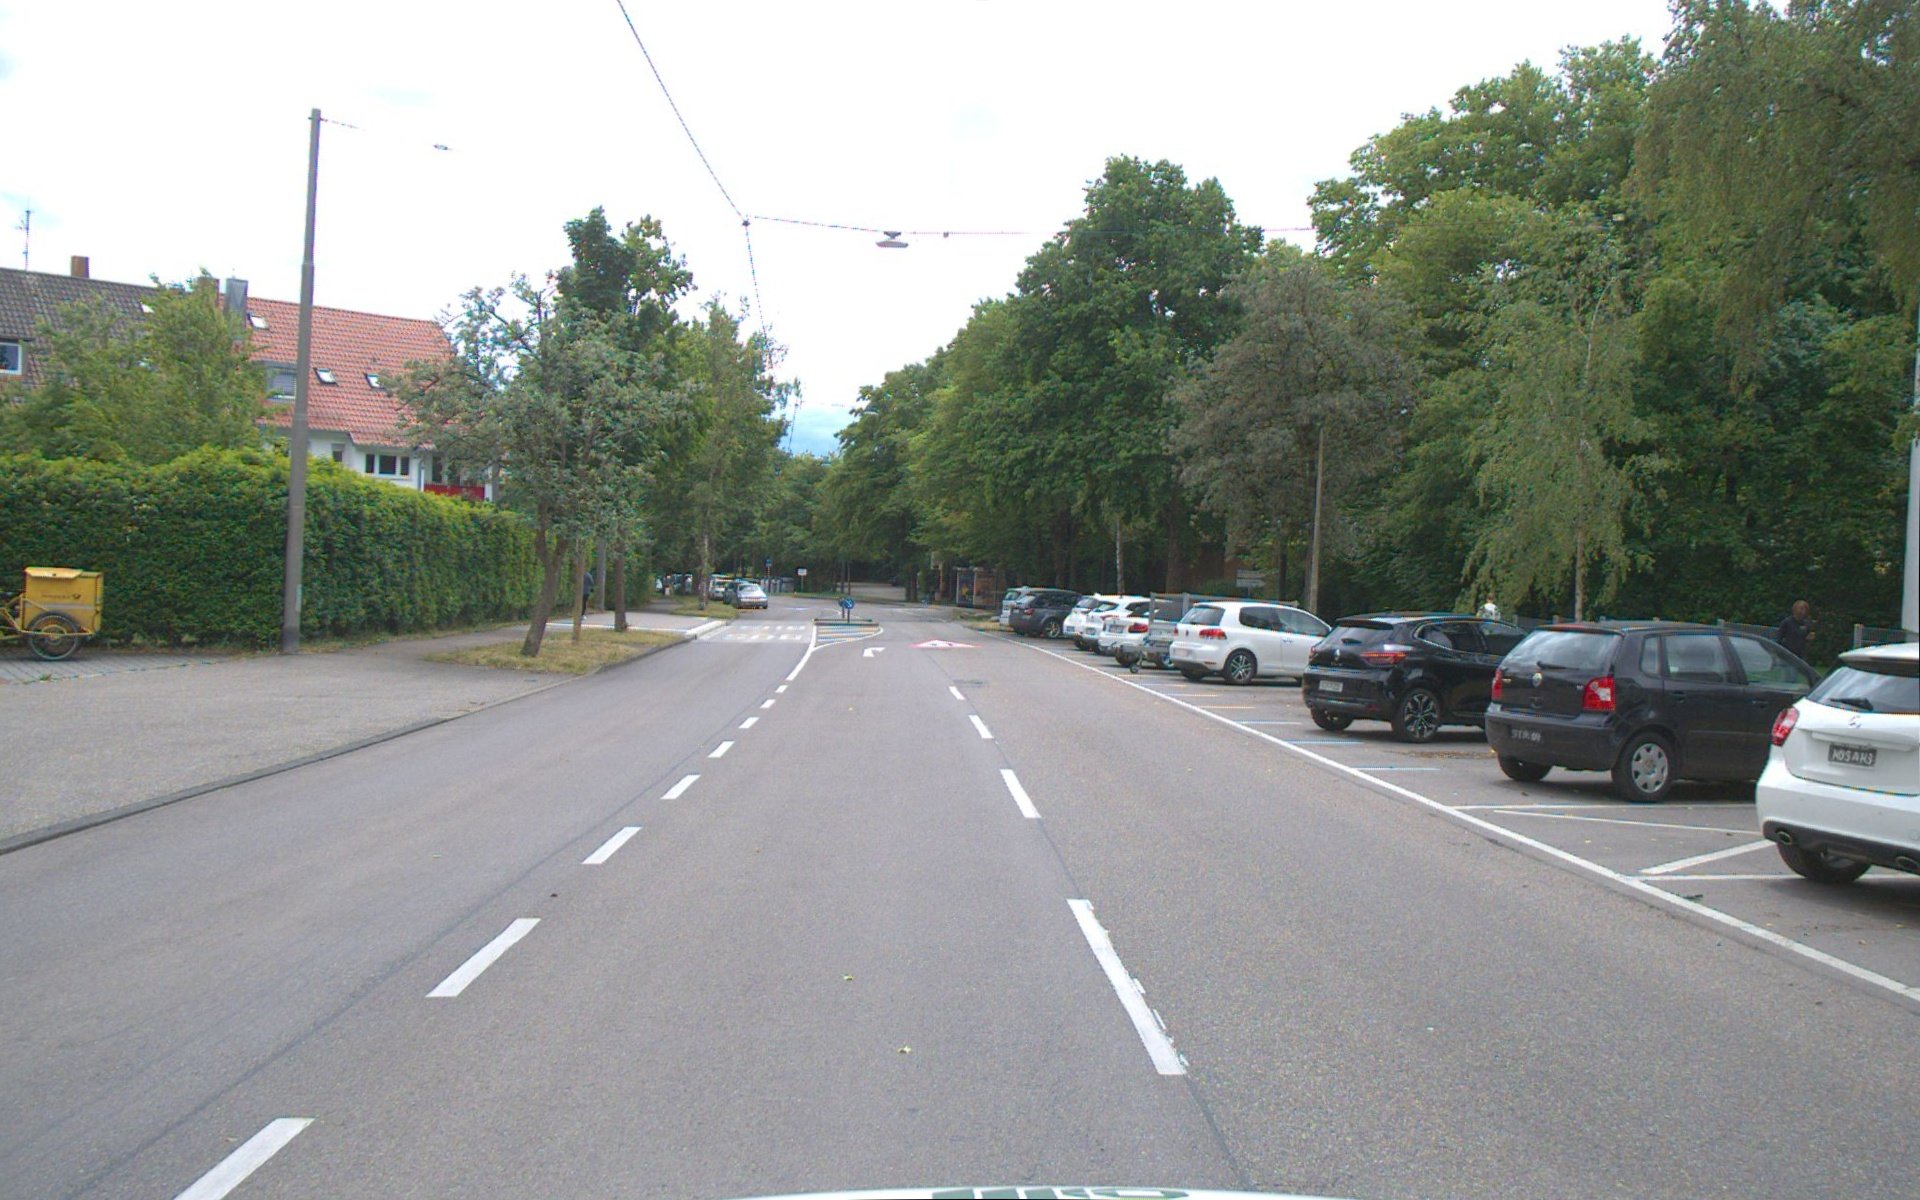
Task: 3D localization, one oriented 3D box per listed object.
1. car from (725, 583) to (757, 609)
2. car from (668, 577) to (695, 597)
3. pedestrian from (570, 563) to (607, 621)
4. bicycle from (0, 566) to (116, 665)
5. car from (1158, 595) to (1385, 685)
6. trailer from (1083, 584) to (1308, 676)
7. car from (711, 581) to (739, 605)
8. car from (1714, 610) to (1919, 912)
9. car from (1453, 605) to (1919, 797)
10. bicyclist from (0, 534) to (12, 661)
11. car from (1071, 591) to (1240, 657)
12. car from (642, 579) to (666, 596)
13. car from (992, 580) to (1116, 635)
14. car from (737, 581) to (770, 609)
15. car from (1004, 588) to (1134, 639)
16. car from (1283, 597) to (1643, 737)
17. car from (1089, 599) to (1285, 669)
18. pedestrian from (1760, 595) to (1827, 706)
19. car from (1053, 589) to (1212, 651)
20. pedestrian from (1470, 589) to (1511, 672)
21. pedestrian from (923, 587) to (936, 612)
[{"bbox_3d":[-13.403,-0.238,101.195,1.832,1.496,3.993,2,0,-8],"label":"car"},{"bbox_3d":[-22.441,-1.055,133.322,1.835,1.496,3.986,2,0,-14],"label":"car"},{"bbox_3d":[-11.539,-0.258,51.347,0.955,1.760,0.848,2,0,-5],"label":"pedestrian"},{"bbox_3d":[-13.115,0.197,22.703,2.605,1.288,0.842,2,1,-21],"label":"bicycle"},{"bbox_3d":[5.800,0.747,30.826,3.831,1.474,1.732,2,0,-23],"label":"car"},{"bbox_3d":[4.691,0.600,32.979,4.093,1.600,1.702,3,0,-20],"label":"trailer"},{"bbox_3d":[-16.048,-0.488,112.982,1.832,1.496,3.993,2,0,-8],"label":"car"},{"bbox_3d":[6.558,0.911,9.295,3.902,1.474,1.910,3,0,-16],"label":"car"},{"bbox_3d":[6.551,0.888,14.683,3.828,1.474,1.833,3,0,-21],"label":"car"},{"bbox_3d":[-13.429,-0.045,22.364,0.697,1.727,0.847,2,1,-3],"label":"bicyclist"},{"bbox_3d":[4.902,0.594,41.458,3.828,1.454,1.733,2,0,-21],"label":"car"},{"bbox_3d":[-27.553,-1.152,148.888,1.835,1.496,3.986,2,0,-14],"label":"car"},{"bbox_3d":[3.218,0.253,56.786,3.828,1.697,1.733,2,0,-21],"label":"car"},{"bbox_3d":[-11.980,-0.306,95.682,1.832,1.496,3.993,2,0,-8],"label":"car"},{"bbox_3d":[3.552,0.433,54.005,3.828,1.454,1.733,2,0,-21],"label":"car"},{"bbox_3d":[5.985,0.797,19.689,3.834,1.474,1.830,2,0,-25],"label":"car"},{"bbox_3d":[4.898,0.740,35.672,3.835,1.332,1.730,2,0,-25],"label":"car"},{"bbox_3d":[12.612,0.751,25.038,0.636,1.631,0.744,1,0,4],"label":"pedestrian"},{"bbox_3d":[4.577,0.530,44.027,3.828,1.454,1.733,2,0,-21],"label":"car"},{"bbox_3d":[11.121,0.629,34.676,0.636,1.700,0.744,1,0,5],"label":"pedestrian"},{"bbox_3d":[-2.034,-0.035,111.544,0.725,1.597,0.652,1,0,10],"label":"pedestrian"}]
